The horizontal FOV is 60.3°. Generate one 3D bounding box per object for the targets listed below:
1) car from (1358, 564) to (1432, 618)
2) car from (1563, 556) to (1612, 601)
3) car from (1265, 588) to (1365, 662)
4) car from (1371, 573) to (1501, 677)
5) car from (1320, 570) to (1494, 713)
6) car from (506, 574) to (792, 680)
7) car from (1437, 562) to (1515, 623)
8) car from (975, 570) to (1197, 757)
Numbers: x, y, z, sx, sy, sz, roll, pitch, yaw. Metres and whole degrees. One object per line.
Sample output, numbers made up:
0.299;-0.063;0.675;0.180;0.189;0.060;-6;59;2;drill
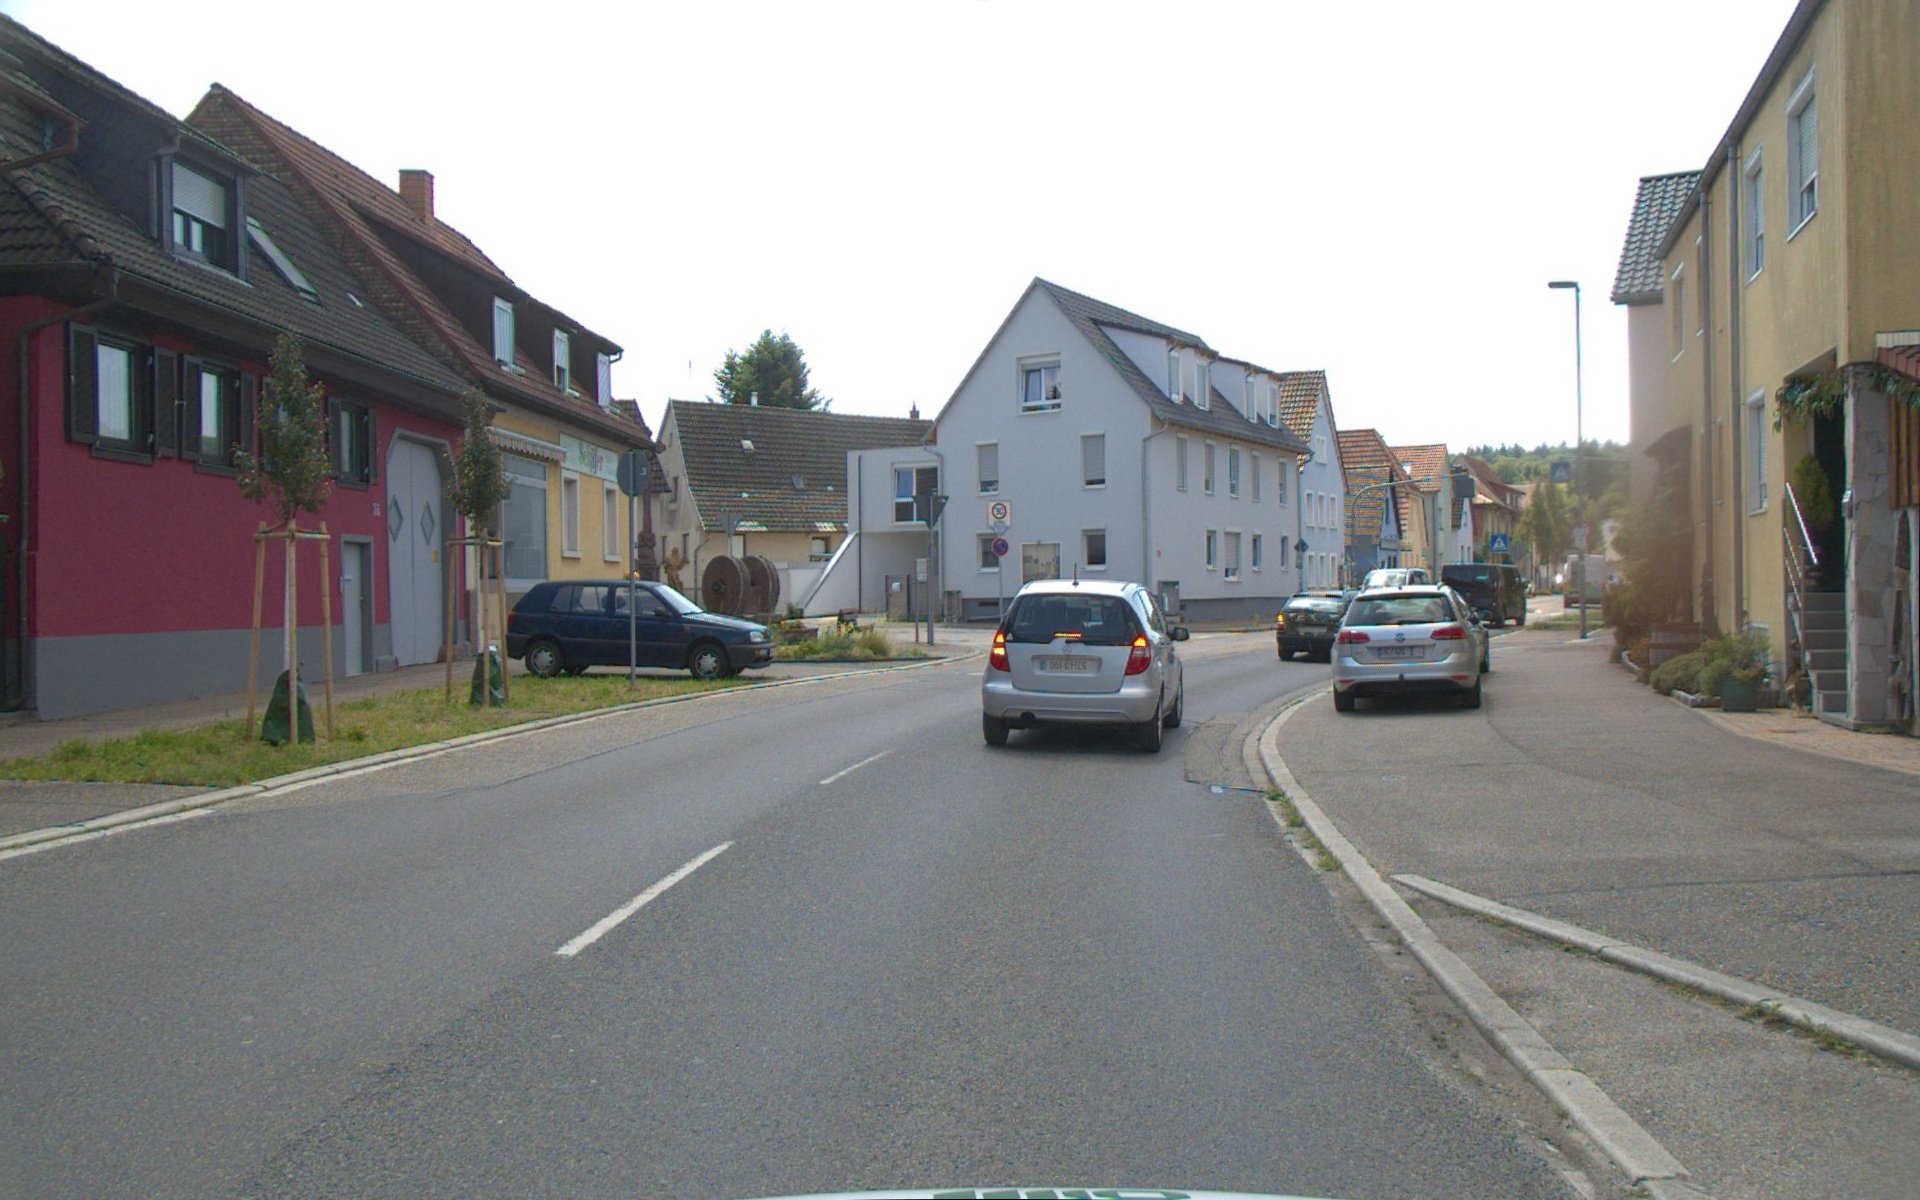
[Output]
15.906;-0.300;60.277;1.953;1.831;4.934;0;-1;22;car
30.625;-1.027;80.620;1.954;2.049;3.997;0;-1;25;car
7.457;0.513;34.514;1.713;1.441;4.002;0;-1;17;car
7.729;0.404;27.160;1.844;1.557;4.003;0;-1;13;car
5.660;0.477;21.025;1.845;1.556;4.339;-3;-1;15;car
-4.573;0.381;24.661;3.884;1.489;1.722;1;0;2;car
16.524;-0.205;52.874;1.953;1.848;3.998;0;-1;24;car
1.412;0.559;17.140;1.772;1.672;3.732;1;1;12;car
